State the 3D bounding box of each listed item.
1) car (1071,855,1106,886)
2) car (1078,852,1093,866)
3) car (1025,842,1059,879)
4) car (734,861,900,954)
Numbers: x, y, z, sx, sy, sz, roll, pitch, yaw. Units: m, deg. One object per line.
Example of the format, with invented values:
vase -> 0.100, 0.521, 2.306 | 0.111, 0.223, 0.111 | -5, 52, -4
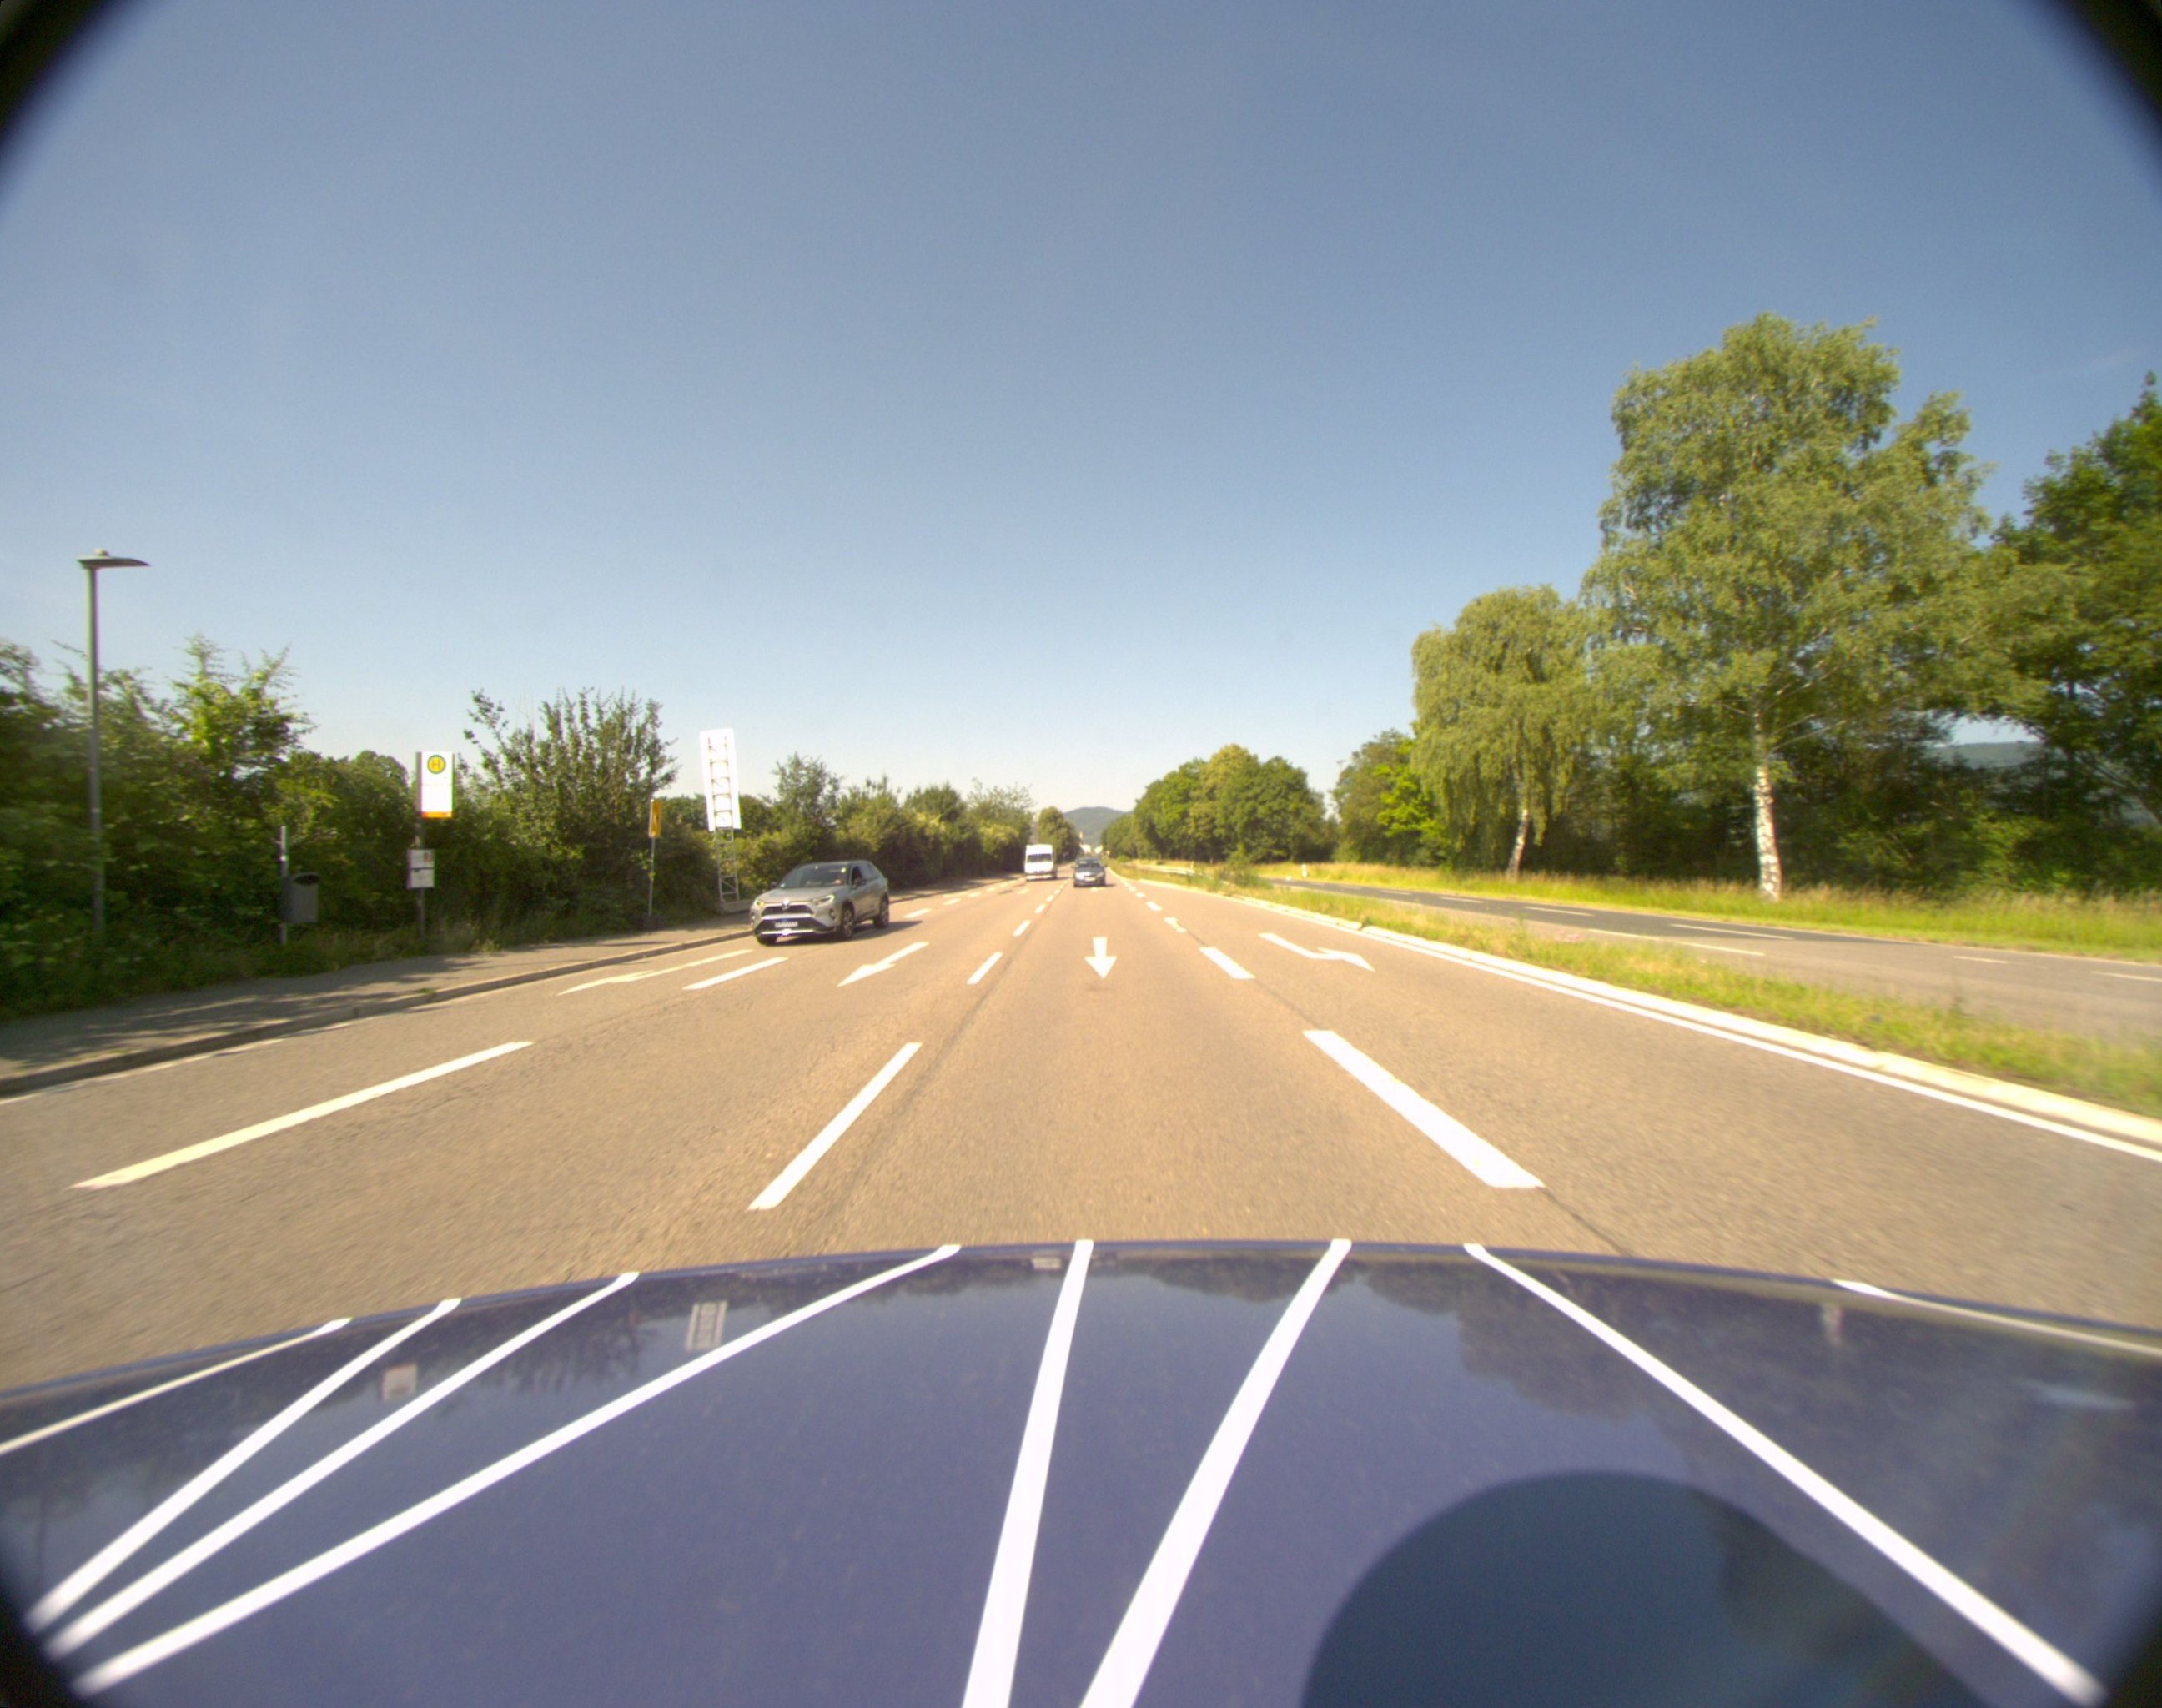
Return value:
car -> 0.400, 0.815, 39.744 | 1.678, 1.435, 4.361 | -1, 1, 1
car -> 0.567, 0.566, 88.805 | 1.678, 1.435, 3.622 | -1, 1, 1
car -> -2.673, 0.421, 53.291 | 1.998, 2.432, 5.088 | -1, 1, 1
car -> -5.666, 1.063, 17.019 | 1.906, 1.670, 4.684 | -3, 0, 1
